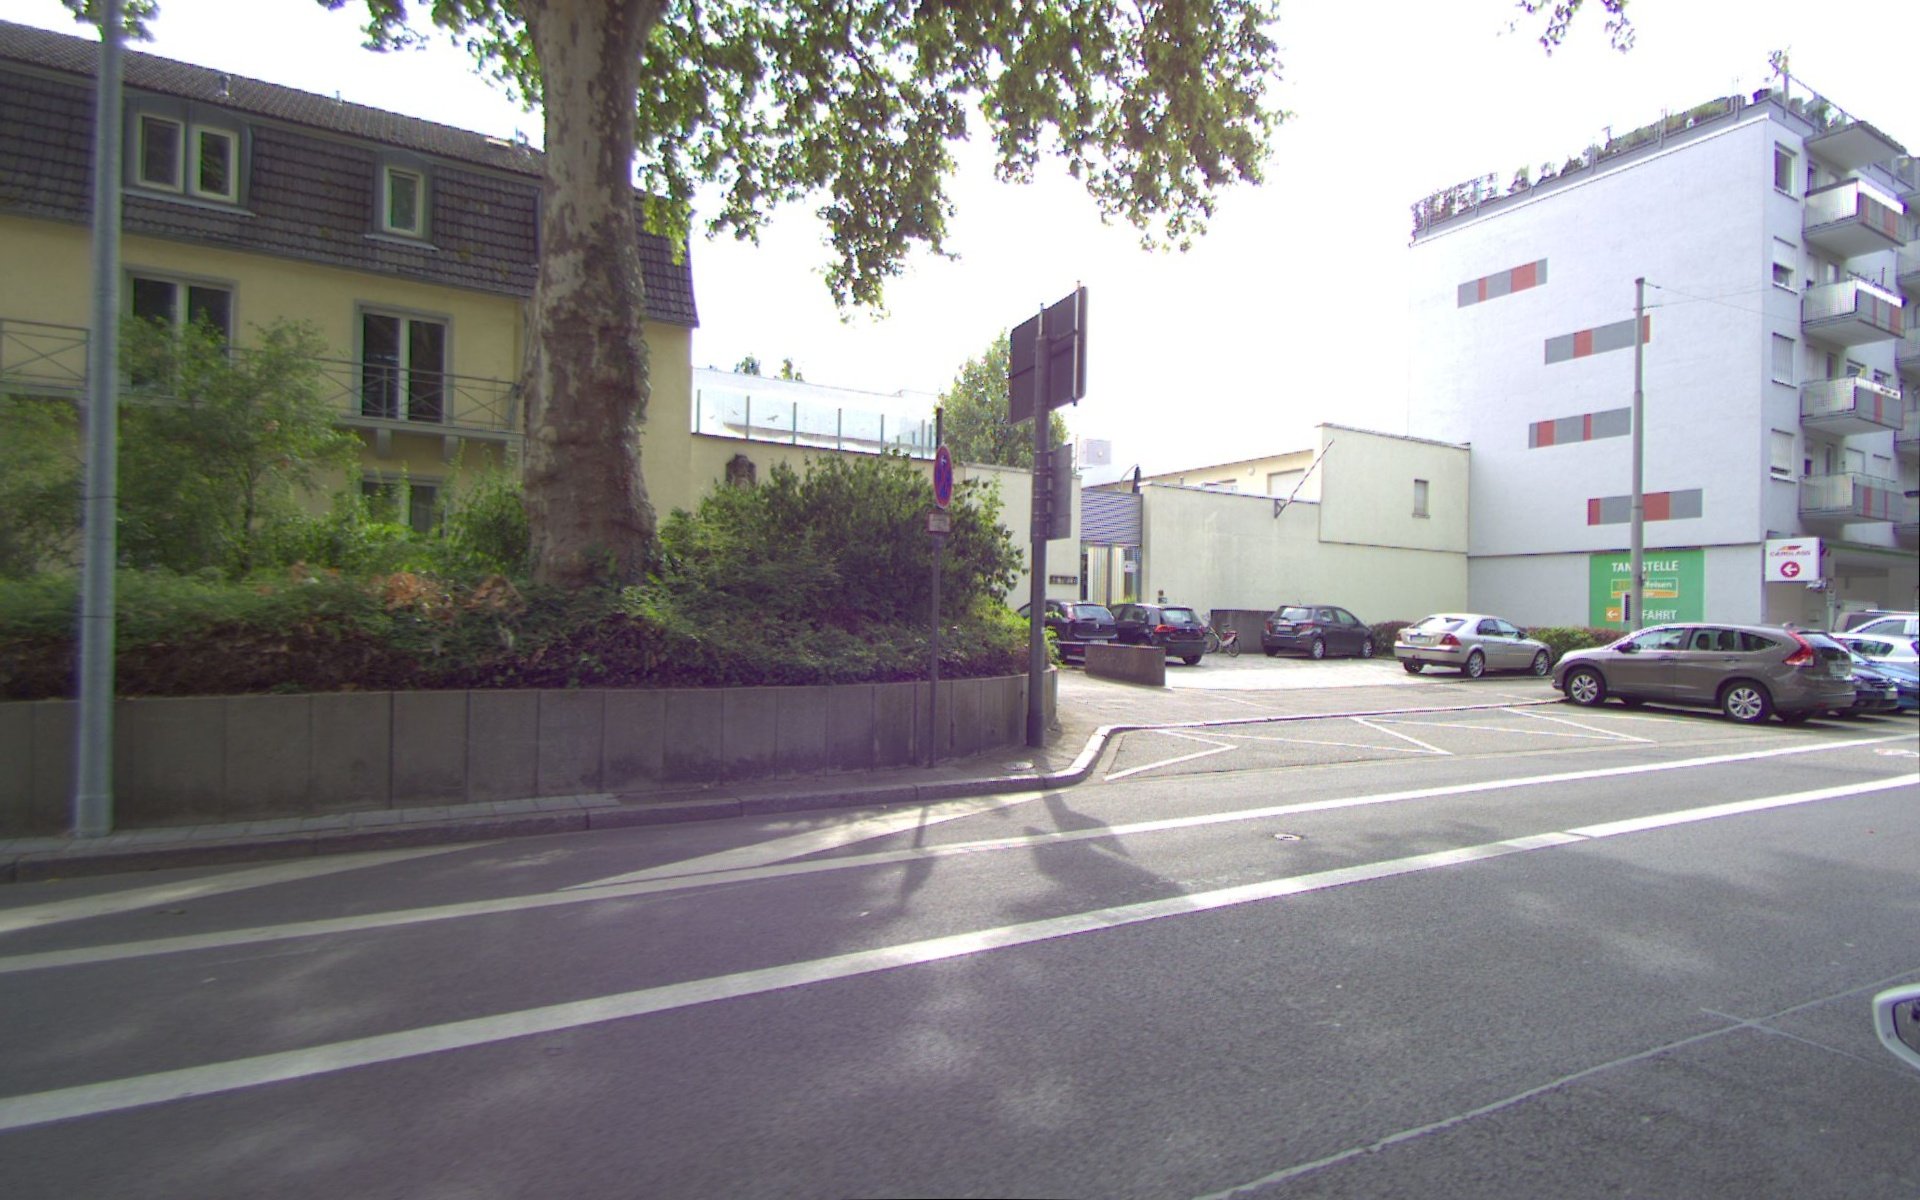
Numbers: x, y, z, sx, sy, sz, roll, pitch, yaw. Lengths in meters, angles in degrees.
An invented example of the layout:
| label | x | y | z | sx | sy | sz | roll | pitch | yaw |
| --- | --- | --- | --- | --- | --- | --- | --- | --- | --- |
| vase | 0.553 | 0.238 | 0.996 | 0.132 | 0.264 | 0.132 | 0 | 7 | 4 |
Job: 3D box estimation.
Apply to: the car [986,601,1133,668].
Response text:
| label | x | y | z | sx | sy | sz | roll | pitch | yaw |
| --- | --- | --- | --- | --- | --- | --- | --- | --- | --- |
| car | 2.357 | 0.792 | 24.881 | 1.865 | 1.439 | 3.975 | 0 | 1 | -25 |

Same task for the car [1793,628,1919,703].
| label | x | y | z | sx | sy | sz | roll | pitch | yaw |
| --- | --- | --- | --- | --- | --- | --- | --- | --- | --- |
| car | 20.833 | 1.438 | 21.943 | 1.732 | 1.464 | 3.664 | 1 | 1 | -30 |

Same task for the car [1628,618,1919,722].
| label | x | y | z | sx | sy | sz | roll | pitch | yaw |
| --- | --- | --- | --- | --- | --- | --- | --- | --- | --- |
| car | 15.234 | 1.227 | 19.046 | 1.731 | 1.591 | 3.926 | 1 | 1 | -27 |

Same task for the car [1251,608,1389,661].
| label | x | y | z | sx | sy | sz | roll | pitch | yaw |
| --- | --- | --- | --- | --- | --- | --- | --- | --- | --- |
| car | 10.353 | 0.939 | 28.812 | 3.960 | 1.350 | 1.800 | 0 | 1 | -36 |

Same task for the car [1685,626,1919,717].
| label | x | y | z | sx | sy | sz | roll | pitch | yaw |
| --- | --- | --- | --- | --- | --- | --- | --- | --- | --- |
| car | 16.930 | 1.340 | 19.994 | 1.733 | 1.446 | 3.664 | 1 | 1 | -30 |

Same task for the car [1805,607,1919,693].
| label | x | y | z | sx | sy | sz | roll | pitch | yaw |
| --- | --- | --- | --- | --- | --- | --- | --- | --- | --- |
| car | 22.958 | 1.218 | 23.434 | 2.021 | 1.903 | 4.507 | 2 | 1 | -28 |

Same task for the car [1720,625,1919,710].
| label | x | y | z | sx | sy | sz | roll | pitch | yaw |
| --- | --- | --- | --- | --- | --- | --- | --- | --- | --- |
| car | 18.747 | 1.369 | 21.402 | 1.733 | 1.505 | 3.664 | 1 | 1 | -30 |

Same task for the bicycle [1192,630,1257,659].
| label | x | y | z | sx | sy | sz | roll | pitch | yaw |
| --- | --- | --- | --- | --- | --- | --- | --- | --- | --- |
| bicycle | 7.372 | 1.234 | 28.123 | 0.484 | 0.752 | 1.973 | 1 | -1 | -31 |

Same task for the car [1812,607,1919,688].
| label | x | y | z | sx | sy | sz | roll | pitch | yaw |
| --- | --- | --- | --- | --- | --- | --- | --- | --- | --- |
| car | 24.833 | 1.263 | 25.171 | 1.976 | 1.929 | 4.892 | 2 | 1 | -30 |

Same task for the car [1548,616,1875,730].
| label | x | y | z | sx | sy | sz | roll | pitch | yaw |
| --- | --- | --- | --- | --- | --- | --- | --- | --- | --- |
| car | 13.134 | 1.163 | 17.869 | 1.944 | 1.627 | 4.238 | 0 | 1 | -28 |

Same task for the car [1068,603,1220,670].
| label | x | y | z | sx | sy | sz | roll | pitch | yaw |
| --- | --- | --- | --- | --- | --- | --- | --- | --- | --- |
| car | 4.587 | 0.862 | 25.622 | 1.892 | 1.485 | 3.975 | 0 | 1 | -25 |

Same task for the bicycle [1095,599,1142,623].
| label | x | y | z | sx | sy | sz | roll | pitch | yaw |
| --- | --- | --- | --- | --- | --- | --- | --- | --- | --- |
| bicycle | 5.048 | 0.345 | 32.126 | 0.483 | 0.752 | 1.978 | 1 | -1 | -24 |

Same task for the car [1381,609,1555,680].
| label | x | y | z | sx | sy | sz | roll | pitch | yaw |
| --- | --- | --- | --- | --- | --- | --- | --- | --- | --- |
| car | 12.318 | 1.052 | 24.309 | 4.183 | 1.539 | 1.749 | 1 | 0 | -30 |
